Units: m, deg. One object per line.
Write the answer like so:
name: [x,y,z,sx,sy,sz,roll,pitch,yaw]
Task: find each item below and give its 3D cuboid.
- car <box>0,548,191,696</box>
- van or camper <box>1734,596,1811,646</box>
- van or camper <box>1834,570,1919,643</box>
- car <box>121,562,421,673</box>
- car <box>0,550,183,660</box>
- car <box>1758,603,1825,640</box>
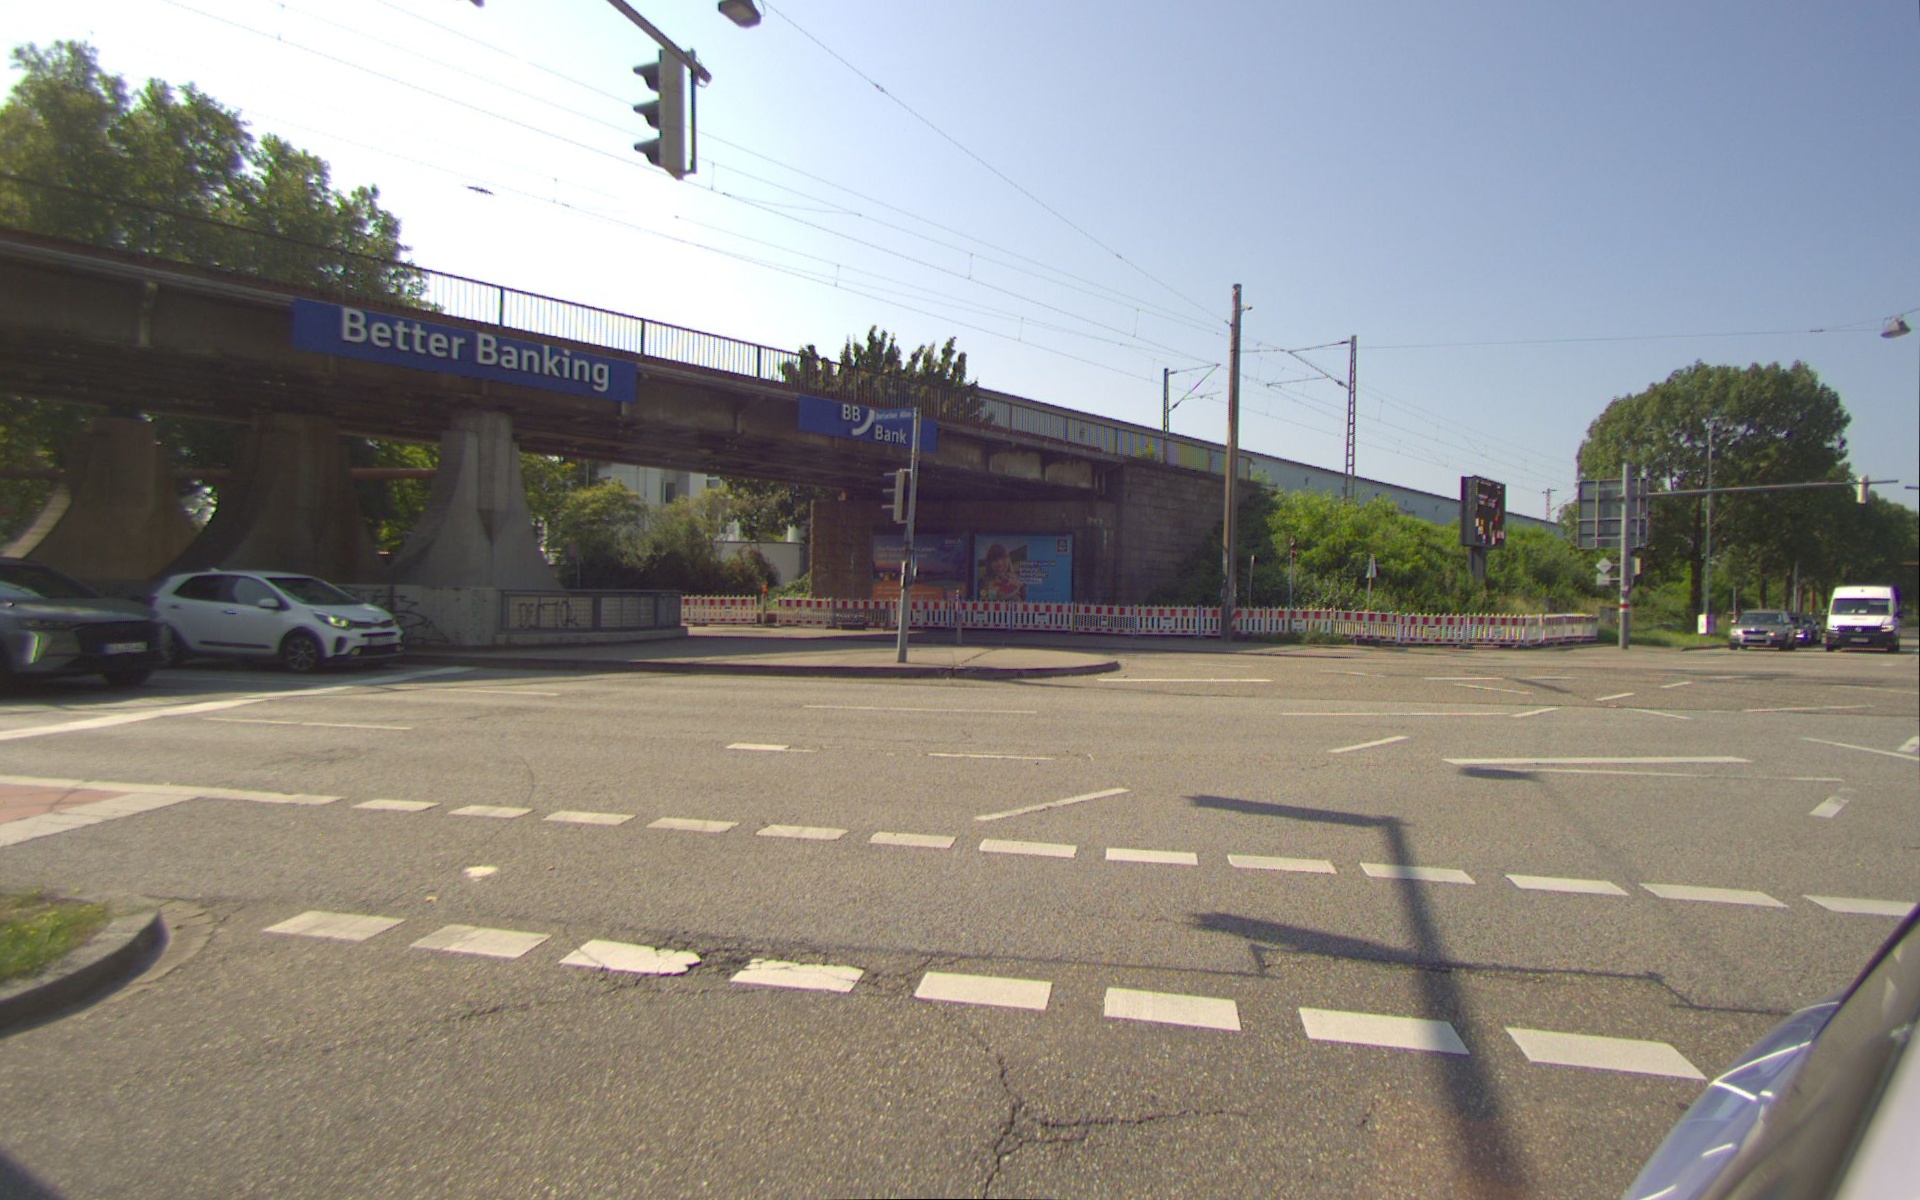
car: [-12.298,0.189,12.671,4.406,1.637,1.901,1,1,13]
van or camper: [31.841,0.859,39.616,4.104,1.800,1.847,4,-3,-44]
van or camper: [36.095,0.344,39.681,6.752,2.515,2.243,4,-3,-45]
car: [-10.614,0.227,15.730,3.633,1.557,1.724,1,1,7]
car: [-15.495,-0.012,16.495,4.274,1.593,1.996,3,0,7]
car: [36.329,0.913,44.184,1.993,1.572,3.937,-1,-1,44]
